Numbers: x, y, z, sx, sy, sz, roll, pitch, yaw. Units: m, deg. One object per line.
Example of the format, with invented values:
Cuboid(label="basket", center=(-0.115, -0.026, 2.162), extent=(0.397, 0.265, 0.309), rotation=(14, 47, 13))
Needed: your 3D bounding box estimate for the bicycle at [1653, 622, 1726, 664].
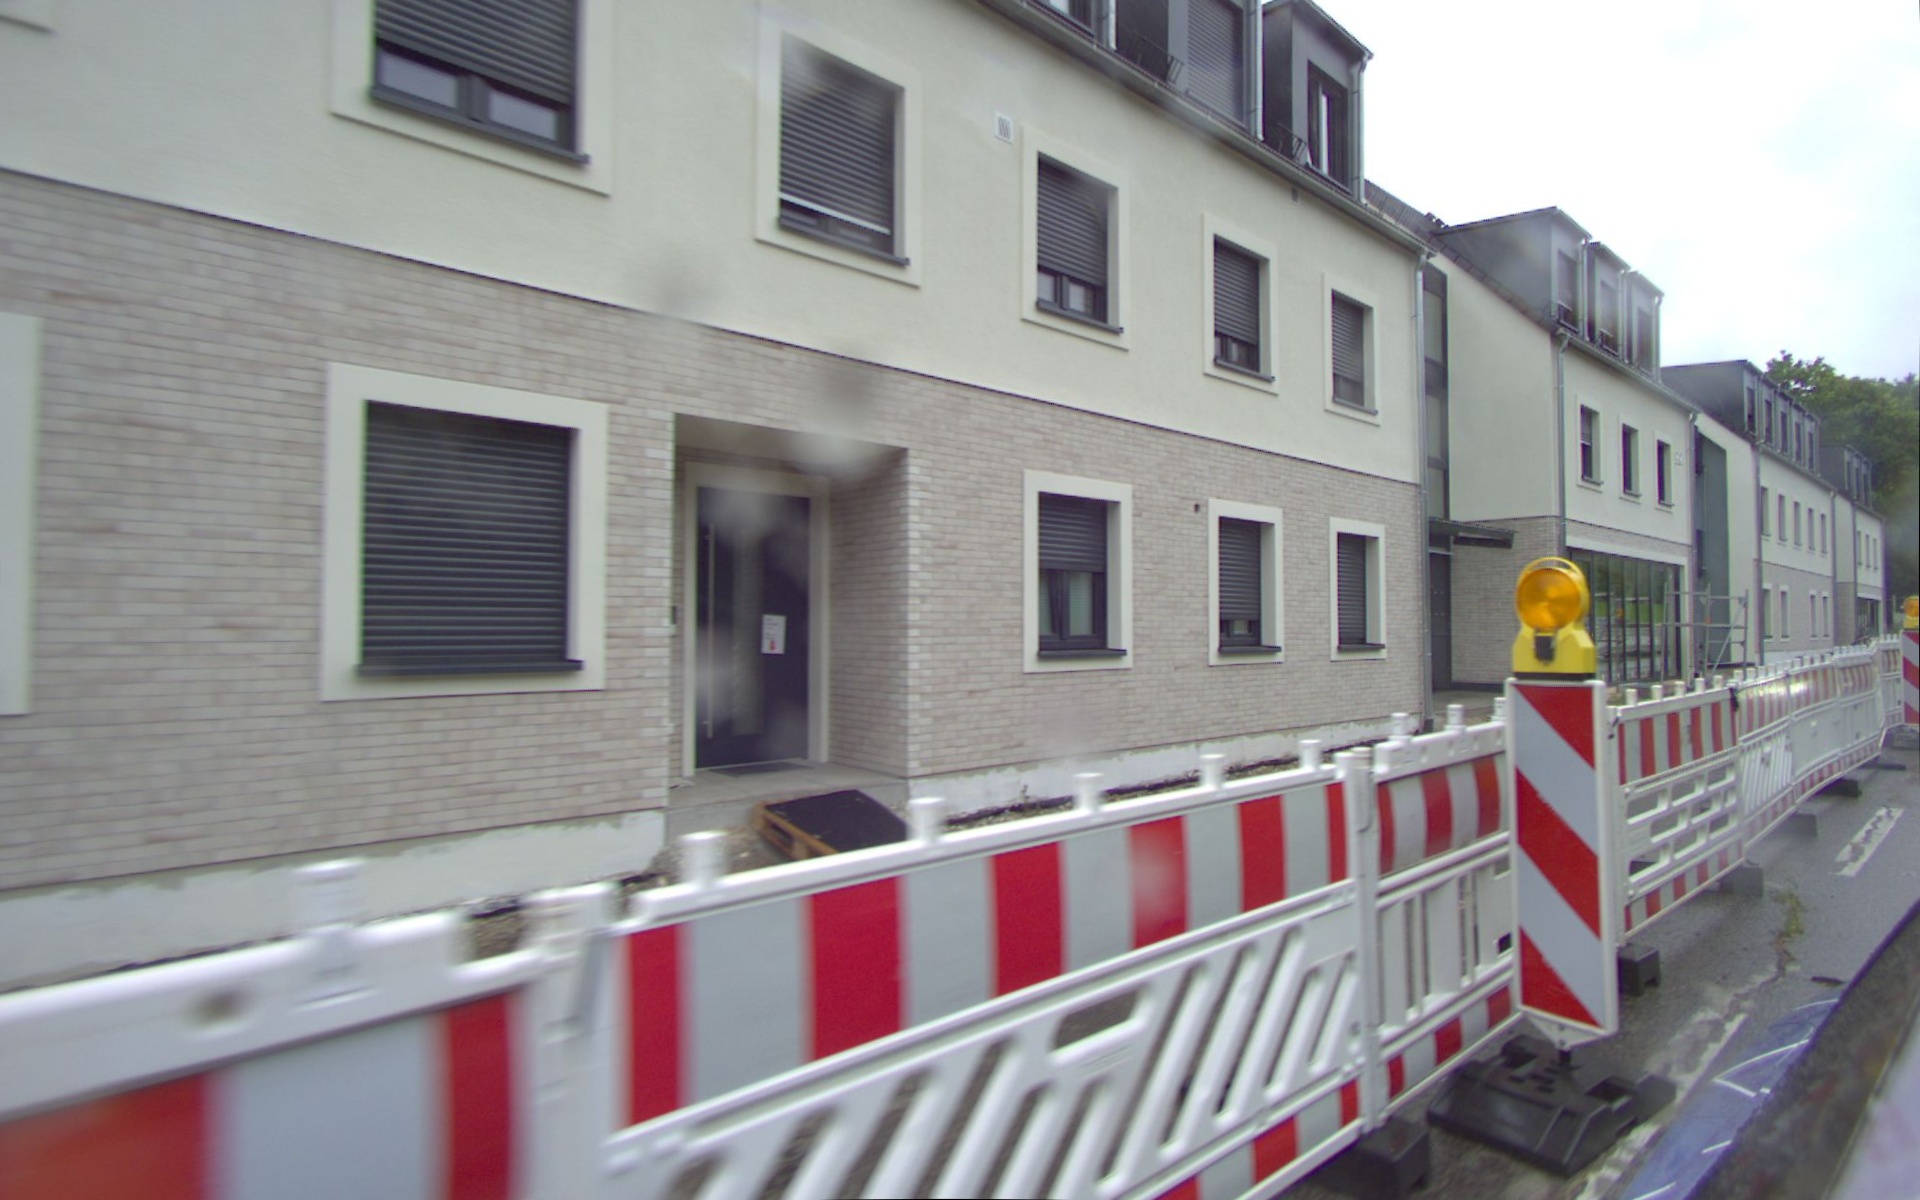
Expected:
Cuboid(label="bicycle", center=(19.312, 1.137, 26.834), extent=(1.521, 1.066, 0.445), rotation=(0, 0, 31))

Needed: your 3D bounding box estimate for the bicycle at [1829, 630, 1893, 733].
Cuboid(label="bicycle", center=(10.973, 0.967, 12.317), extent=(1.199, 1.158, 0.406), rotation=(0, 0, -40))

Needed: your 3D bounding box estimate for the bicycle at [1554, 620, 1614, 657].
Cuboid(label="bicycle", center=(18.638, 1.141, 30.252), extent=(1.504, 1.091, 0.489), rotation=(0, 0, -2))

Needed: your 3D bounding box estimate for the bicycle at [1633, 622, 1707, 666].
Cuboid(label="bicycle", center=(18.551, 1.136, 26.466), extent=(0.442, 1.066, 1.532), rotation=(0, 0, -40))
